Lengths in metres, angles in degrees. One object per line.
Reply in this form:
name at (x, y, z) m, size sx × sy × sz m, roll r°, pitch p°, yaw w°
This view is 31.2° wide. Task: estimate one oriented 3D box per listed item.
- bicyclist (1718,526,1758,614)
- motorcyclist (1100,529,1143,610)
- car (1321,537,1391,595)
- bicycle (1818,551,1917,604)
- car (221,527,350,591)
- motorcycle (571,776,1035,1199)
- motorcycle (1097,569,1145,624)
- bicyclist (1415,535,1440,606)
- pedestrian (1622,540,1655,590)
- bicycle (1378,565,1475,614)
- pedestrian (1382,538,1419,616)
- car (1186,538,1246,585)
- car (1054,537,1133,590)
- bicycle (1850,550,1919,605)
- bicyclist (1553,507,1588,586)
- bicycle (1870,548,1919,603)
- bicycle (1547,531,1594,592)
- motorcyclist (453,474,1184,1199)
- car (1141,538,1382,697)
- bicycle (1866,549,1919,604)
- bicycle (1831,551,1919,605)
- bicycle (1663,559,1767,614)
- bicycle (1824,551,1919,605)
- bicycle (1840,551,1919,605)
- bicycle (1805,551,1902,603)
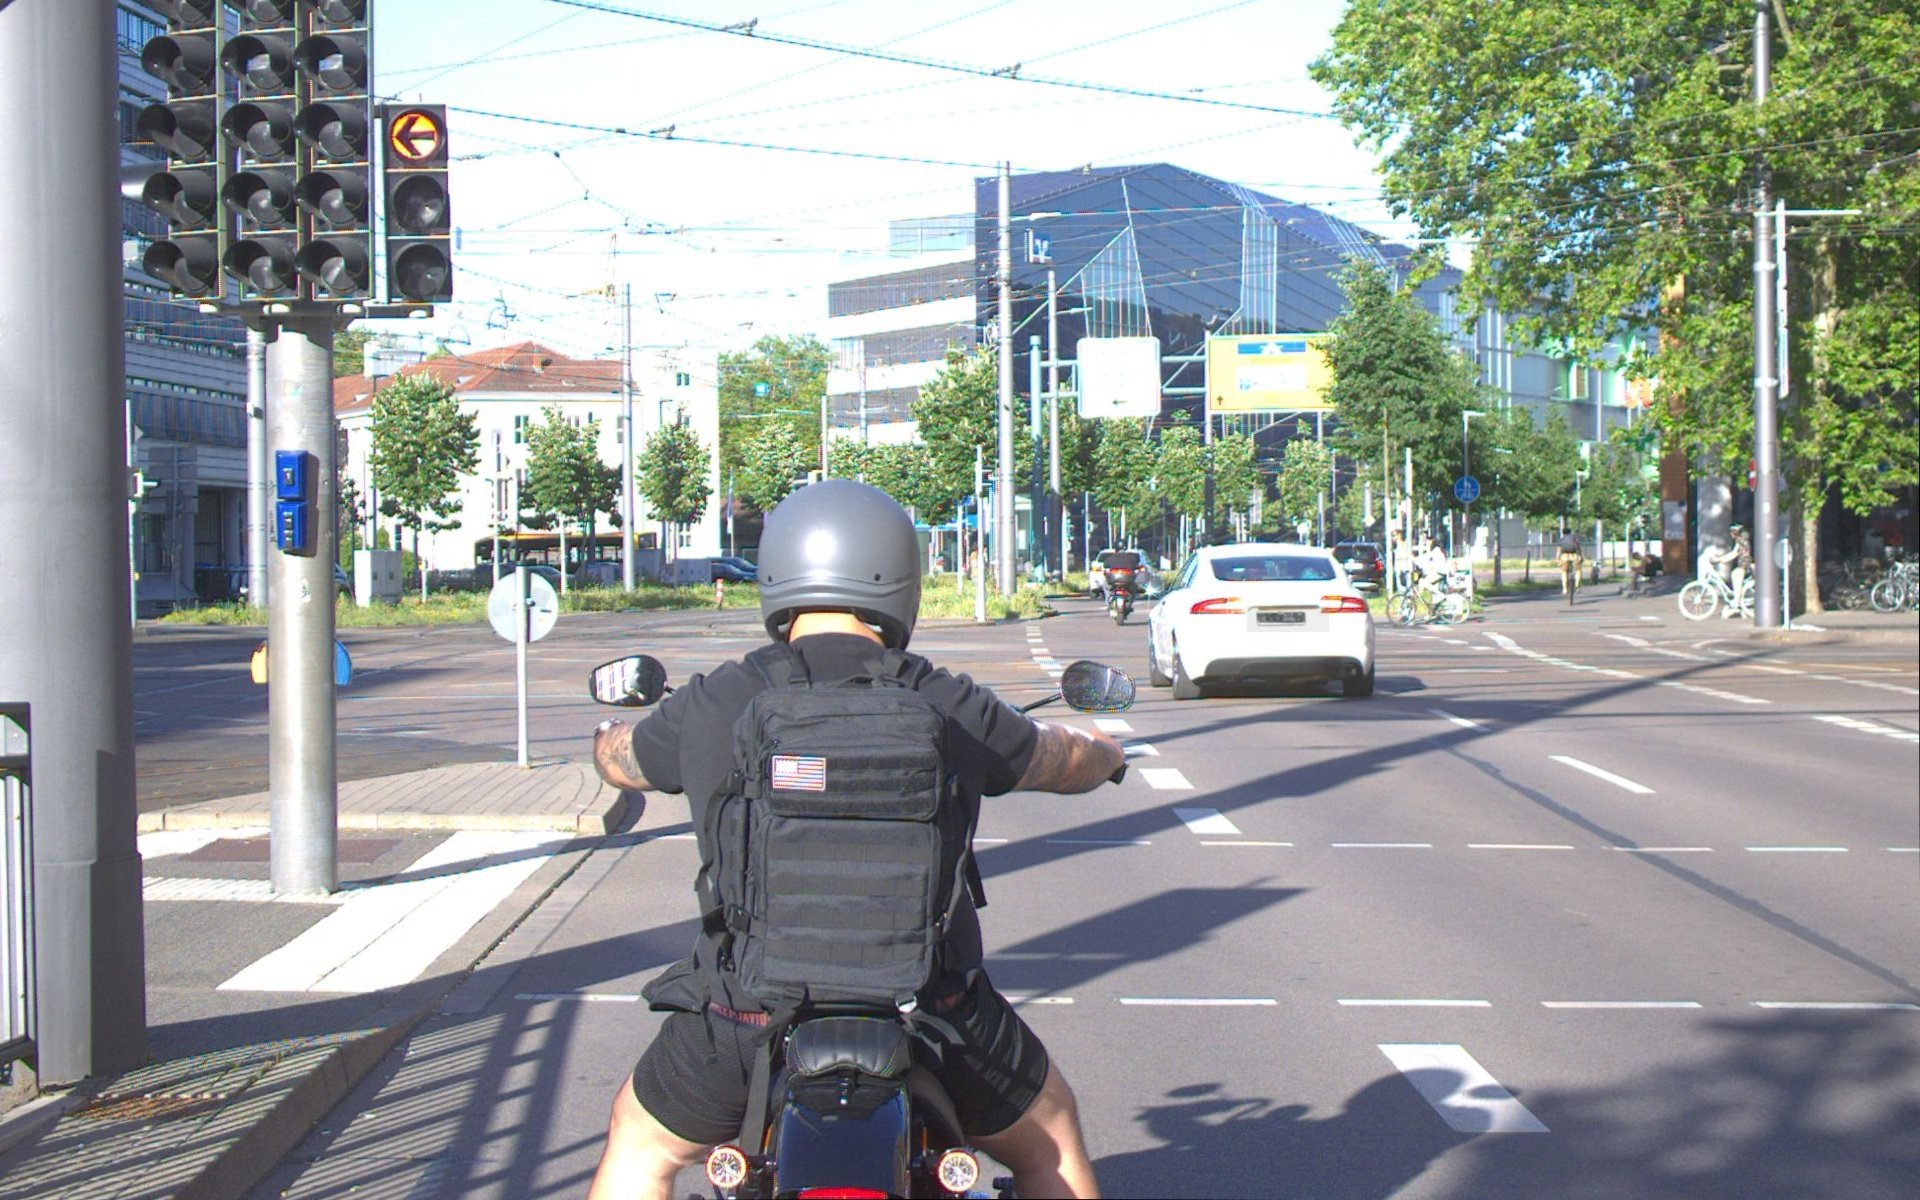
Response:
bicyclist at (14.751, -0.565, 65.185) m, size 0.688 × 1.667 × 0.540 m, roll 0°, pitch 0°, yaw 19°
motorcyclist at (3.182, -0.593, 67.675) m, size 0.796 × 1.574 × 0.529 m, roll 1°, pitch 0°, yaw -1°
car at (12.401, -1.073, 107.558) m, size 1.732 × 1.726 × 4.609 m, roll 1°, pitch 2°, yaw 12°
bicycle at (18.340, -0.458, 69.497) m, size 1.880 × 1.043 × 0.360 m, roll 1°, pitch 1°, yaw -1°
car at (-16.737, -1.005, 85.495) m, size 1.750 × 1.519 × 3.998 m, roll 1°, pitch 0°, yaw 11°
motorcycle at (-0.223, 0.887, 5.605) m, size 0.600 × 1.032 × 2.234 m, roll 1°, pitch 1°, yaw -1°
motorcycle at (3.168, -0.073, 67.869) m, size 0.804 × 1.047 × 2.376 m, roll 1°, pitch 0°, yaw 0°
bicyclist at (9.112, -0.569, 67.076) m, size 0.380 × 1.368 × 0.345 m, roll 1°, pitch 0°, yaw -9°
pedestrian at (17.891, -0.913, 90.649) m, size 0.819 × 1.309 × 0.637 m, roll 1°, pitch 0°, yaw 9°
bicycle at (9.103, -0.211, 67.074) m, size 1.825 × 0.922 × 0.358 m, roll 1°, pitch 0°, yaw -8°
pedestrian at (8.802, -0.461, 68.711) m, size 0.587 × 1.551 × 0.489 m, roll 1°, pitch 0°, yaw -8°
car at (9.338, -1.389, 125.208) m, size 1.804 × 1.672 × 4.039 m, roll 1°, pitch 0°, yaw 9°
car at (3.898, -1.044, 99.657) m, size 1.732 × 1.452 × 4.416 m, roll 1°, pitch 0°, yaw 9°
bicycle at (18.427, -0.439, 67.323) m, size 1.880 × 1.043 × 0.360 m, roll 1°, pitch 0°, yaw -1°
bicyclist at (14.044, -1.222, 79.071) m, size 0.697 × 1.802 × 0.728 m, roll 1°, pitch 0°, yaw 4°
bicycle at (18.390, -0.456, 65.725) m, size 1.880 × 1.043 × 0.360 m, roll 1°, pitch 0°, yaw -1°
bicycle at (14.040, -0.881, 79.111) m, size 0.726 × 1.362 × 2.917 m, roll 1°, pitch 0°, yaw 3°
motorcyclist at (-0.203, 0.611, 5.319) m, size 1.030 × 1.588 × 0.873 m, roll 0°, pitch 1°, yaw -1°
car at (2.833, 0.116, 33.203) m, size 1.803 × 1.425 × 4.453 m, roll 0°, pitch 1°, yaw -2°
bicycle at (18.513, -0.446, 66.510) m, size 1.880 × 1.043 × 0.360 m, roll 1°, pitch 0°, yaw -1°
bicycle at (18.342, -0.435, 68.511) m, size 1.880 × 1.043 × 0.360 m, roll 1°, pitch 0°, yaw -1°
bicycle at (14.340, -0.250, 65.318) m, size 1.872 × 1.040 × 0.536 m, roll 0°, pitch 0°, yaw 19°
bicycle at (18.342, -0.450, 68.997) m, size 1.880 × 1.043 × 0.360 m, roll 1°, pitch 1°, yaw -1°
bicycle at (18.366, -0.431, 67.879) m, size 1.880 × 1.043 × 0.360 m, roll 1°, pitch 1°, yaw -1°
bicycle at (18.353, -0.473, 70.649) m, size 1.880 × 1.043 × 0.360 m, roll 1°, pitch 1°, yaw -1°
